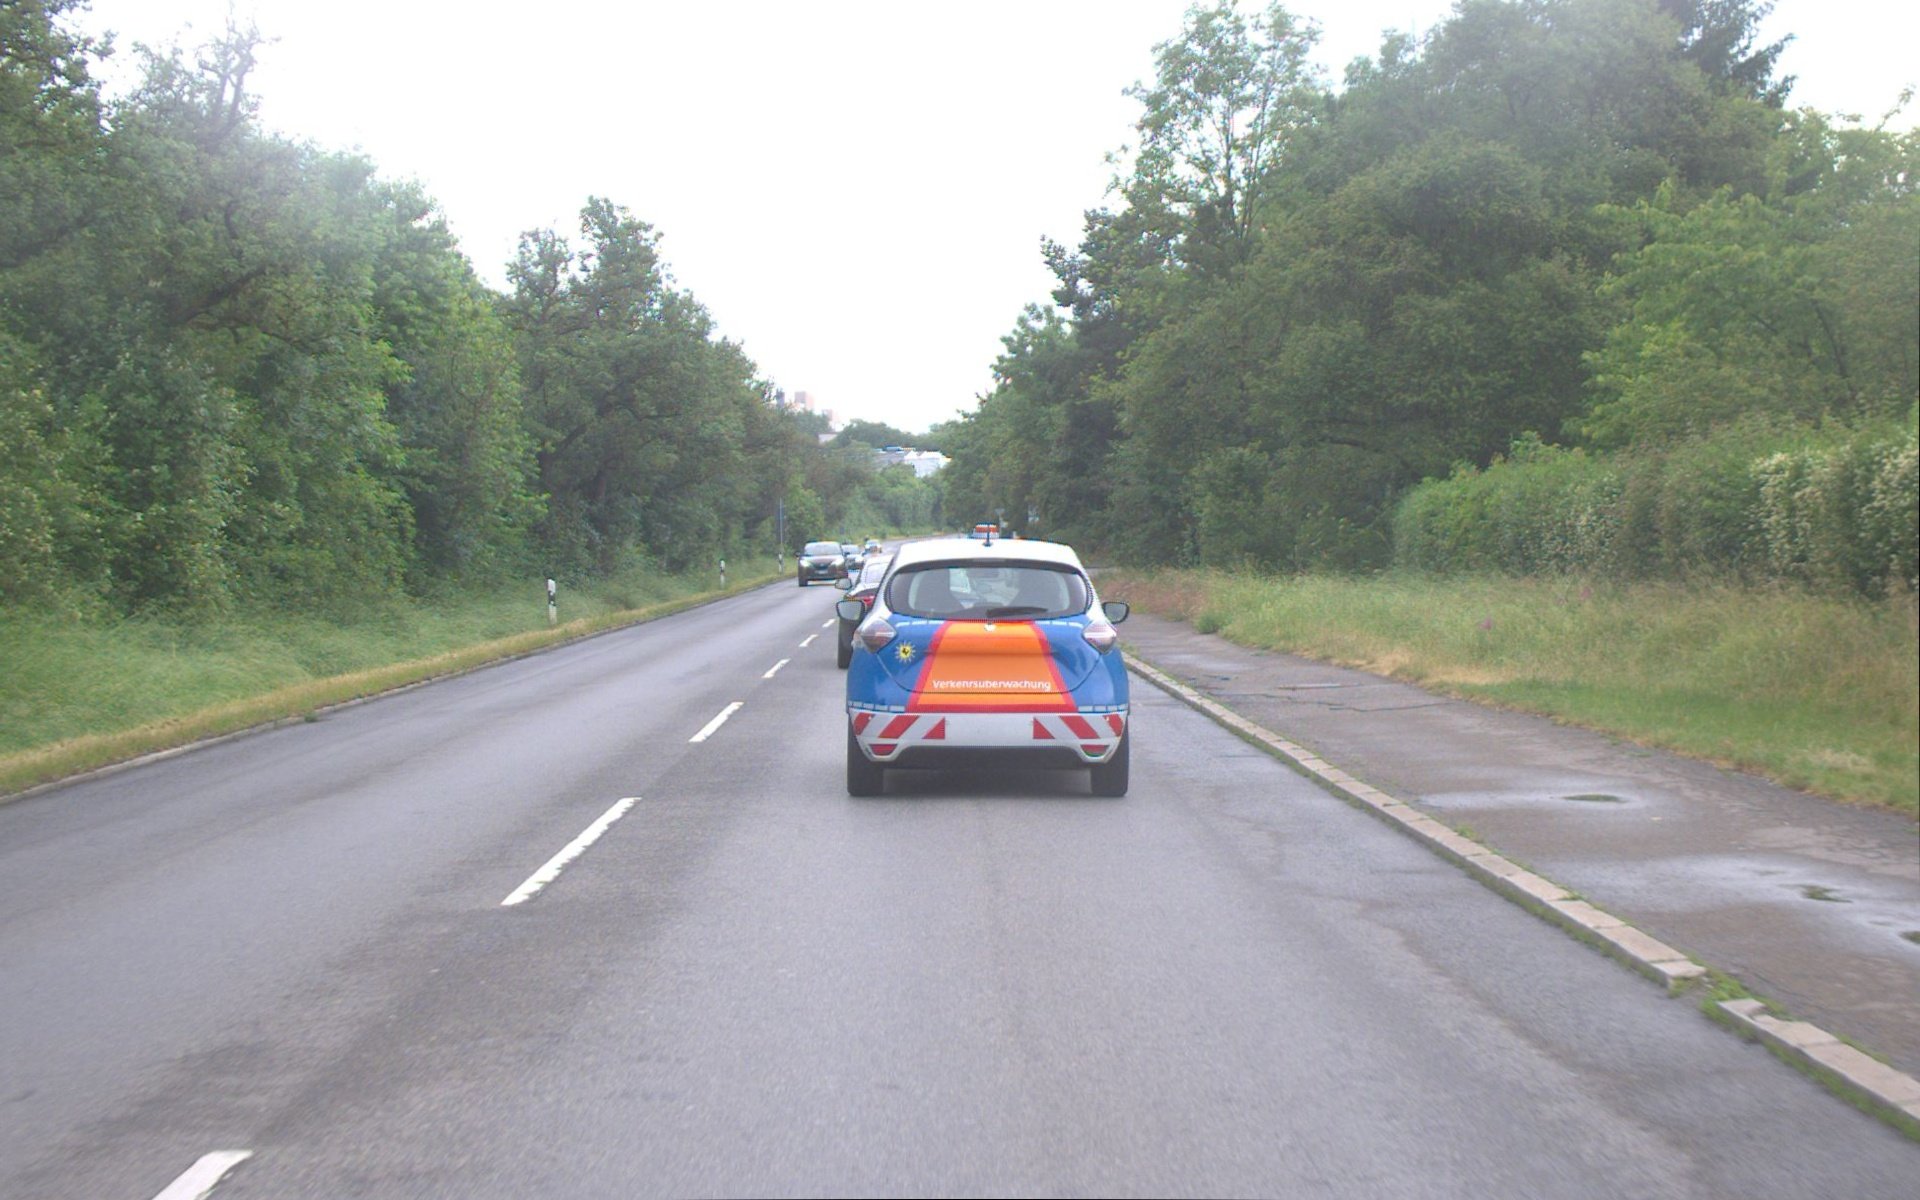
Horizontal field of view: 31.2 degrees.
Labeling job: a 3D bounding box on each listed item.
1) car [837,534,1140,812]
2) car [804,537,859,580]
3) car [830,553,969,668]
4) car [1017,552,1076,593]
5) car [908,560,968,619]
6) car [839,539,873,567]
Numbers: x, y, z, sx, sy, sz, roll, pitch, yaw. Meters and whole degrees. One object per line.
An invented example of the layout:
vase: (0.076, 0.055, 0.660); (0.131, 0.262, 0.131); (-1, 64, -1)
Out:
car: (0.139, 0.389, 21.859); (1.752, 1.550, 3.793); (0, 2, -1)
car: (-4.822, -1.581, 129.548); (1.905, 1.551, 4.516); (-2, 1, -1)
car: (-0.705, 0.096, 41.962); (1.598, 1.282, 3.476); (-1, 1, 0)
car: (3.052, -1.004, 122.138); (1.993, 1.371, 4.000); (-2, 1, 0)
car: (-0.676, -0.349, 106.135); (1.789, 1.714, 4.000); (-2, 1, 0)
car: (-5.558, -2.543, 184.608); (1.710, 1.394, 4.150); (-3, 1, -1)
